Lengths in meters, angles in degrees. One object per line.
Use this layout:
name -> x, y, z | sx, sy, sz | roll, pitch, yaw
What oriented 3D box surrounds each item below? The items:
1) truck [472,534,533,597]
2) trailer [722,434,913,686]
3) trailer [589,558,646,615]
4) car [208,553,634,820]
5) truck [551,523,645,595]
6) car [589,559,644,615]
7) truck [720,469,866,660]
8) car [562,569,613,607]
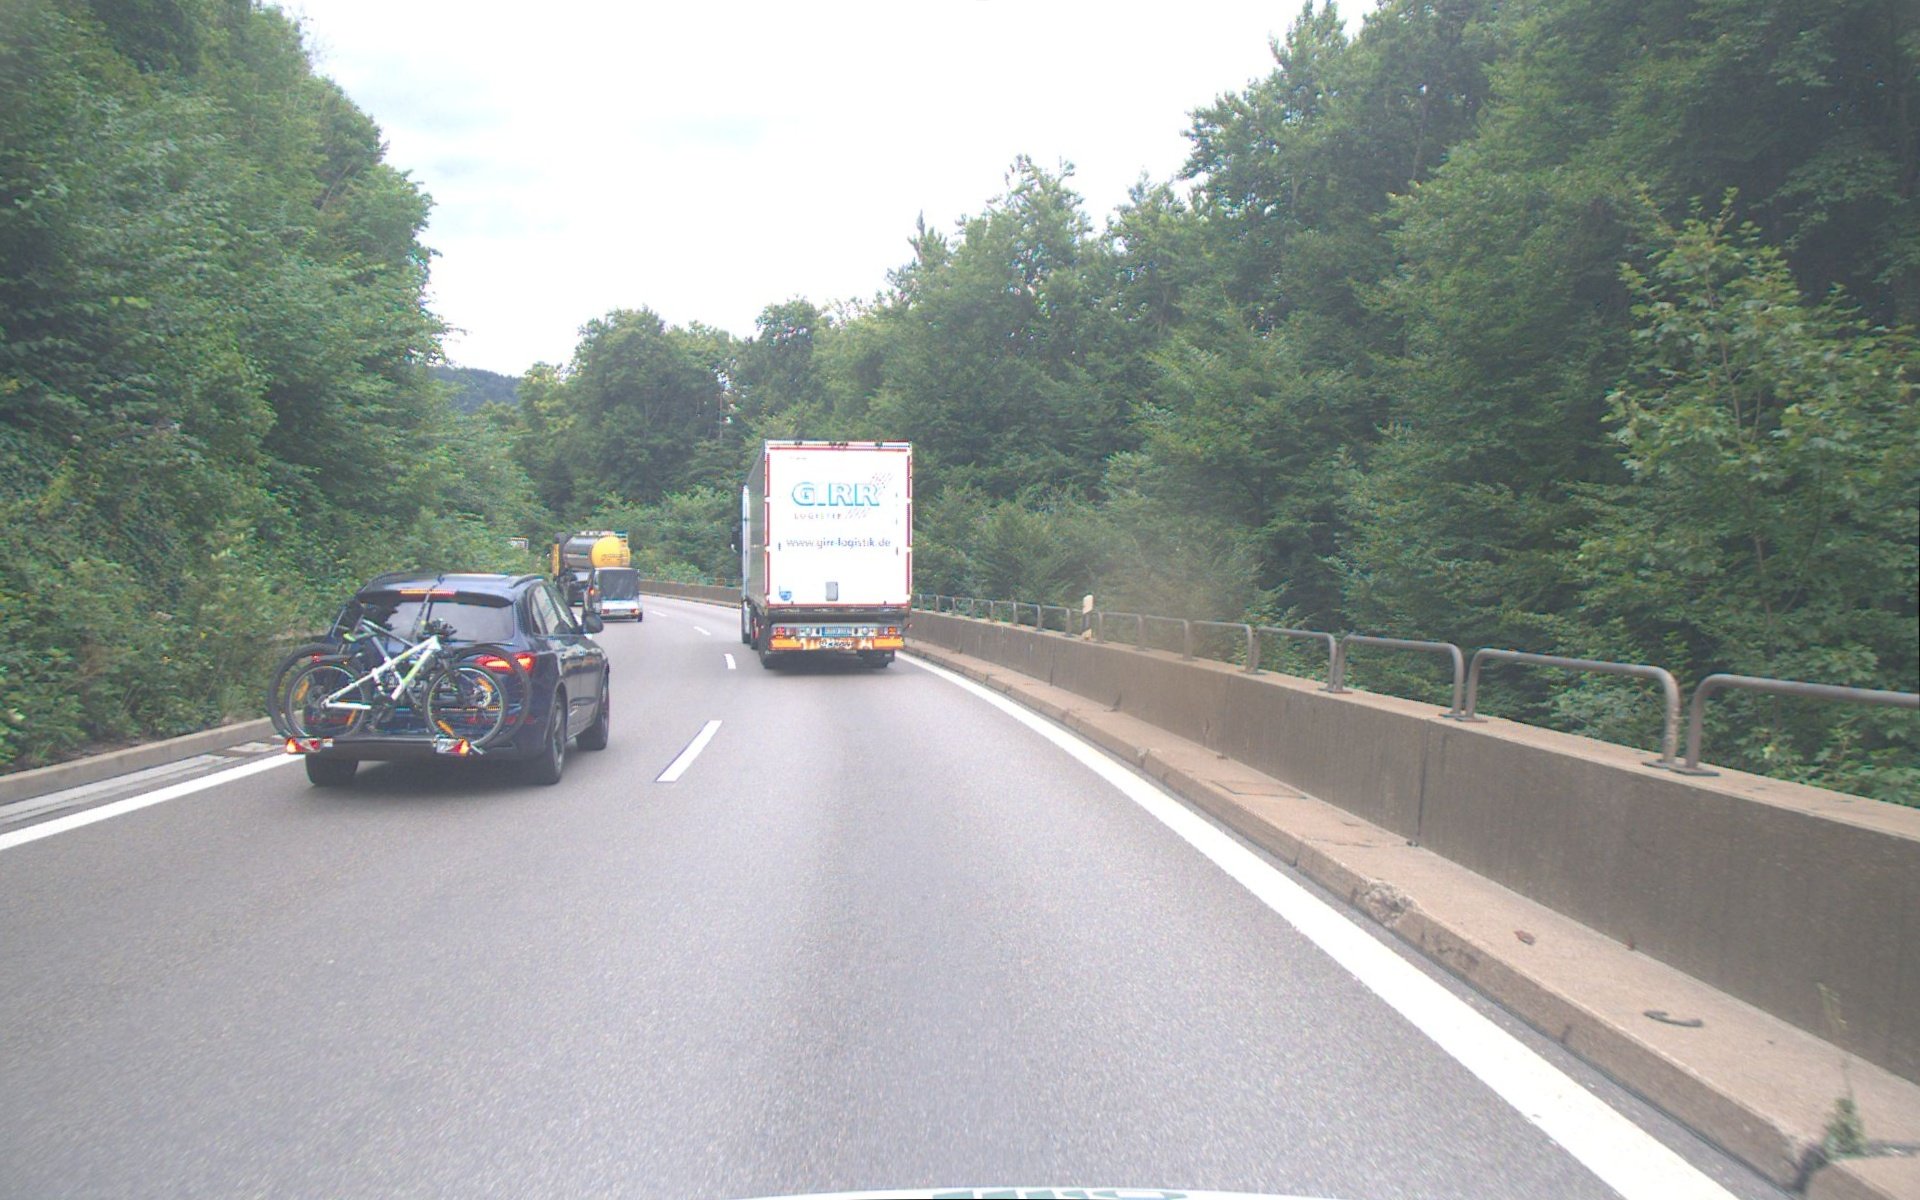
truck -> -41.672, -3.036, 150.323 | 3.778, 5.418, 10.978 | 1, 0, -24
trailer -> -3.243, -0.881, 33.847 | 3.001, 4.054, 12.116 | 3, 2, -8
trailer -> -12.520, -0.458, 60.427 | 1.937, 1.973, 3.419 | 2, -1, -13
car -> -4.051, 0.596, 13.569 | 1.932, 1.621, 5.580 | 4, -1, -4
truck -> -22.265, -2.382, 100.948 | 3.017, 4.056, 13.597 | 1, 0, -23
car -> -13.486, -0.474, 64.792 | 1.959, 2.049, 5.522 | 2, -1, -12
truck -> -4.193, -0.910, 40.156 | 3.001, 4.054, 7.175 | 3, 2, -8
car -> -17.973, -0.557, 79.644 | 1.964, 1.747, 3.978 | 1, 0, -19
